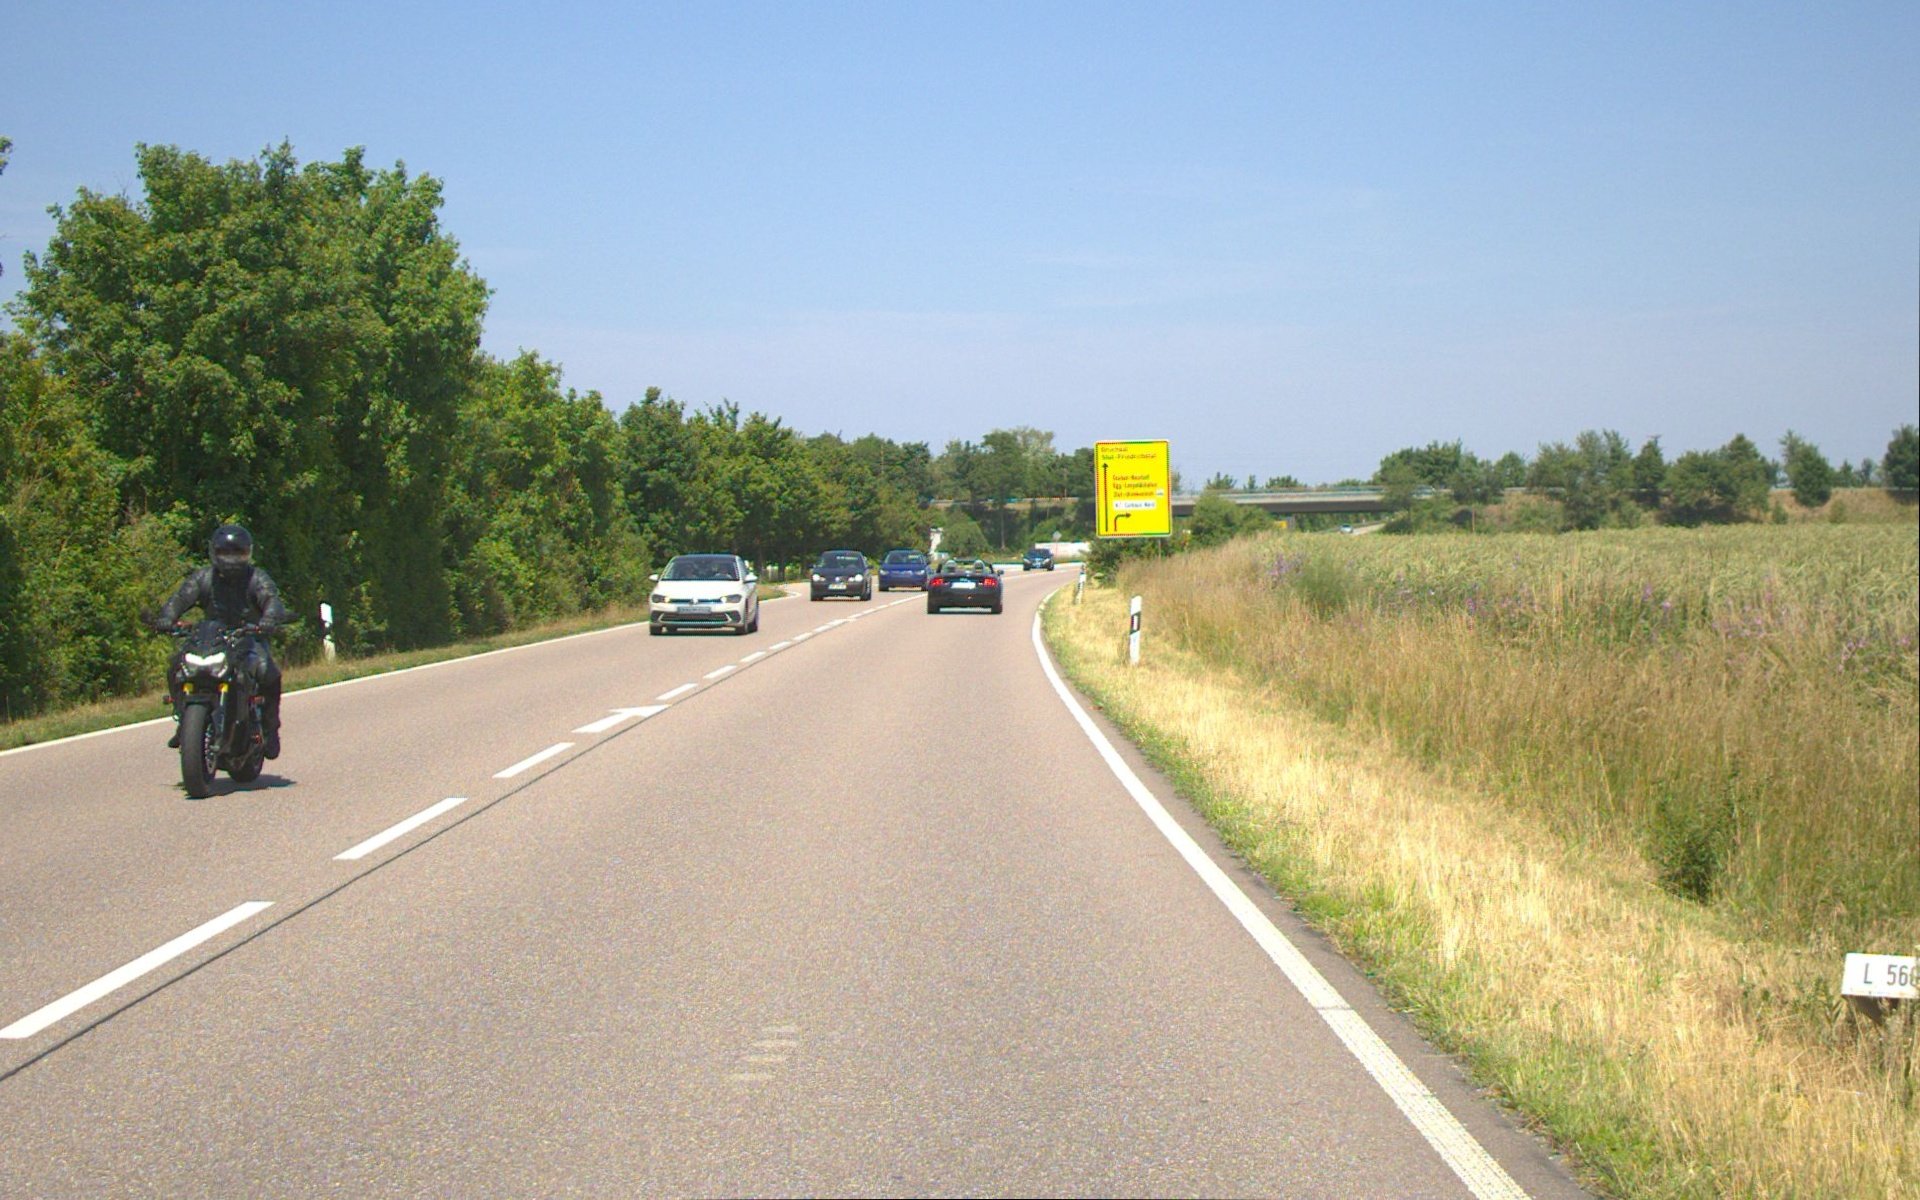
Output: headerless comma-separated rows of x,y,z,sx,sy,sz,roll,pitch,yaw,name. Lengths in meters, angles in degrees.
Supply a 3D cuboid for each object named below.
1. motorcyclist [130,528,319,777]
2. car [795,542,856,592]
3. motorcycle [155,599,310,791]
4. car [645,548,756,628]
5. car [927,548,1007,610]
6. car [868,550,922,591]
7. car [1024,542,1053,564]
-4.520,0.297,21.241,0.835,1.469,1.818,0,1,-2,motorcyclist
-3.934,-0.978,100.867,1.597,1.437,4.000,0,1,0,car
-4.511,0.565,21.419,0.617,1.104,2.022,0,1,-3,motorcycle
-4.651,-0.241,61.998,1.707,1.377,3.819,0,1,0,car
0.184,-0.513,81.993,1.814,1.436,4.000,1,1,1,car
-2.314,-1.070,123.193,1.653,1.402,4.000,0,1,3,car
5.102,-3.041,223.151,1.781,1.415,4.534,0,1,2,car
